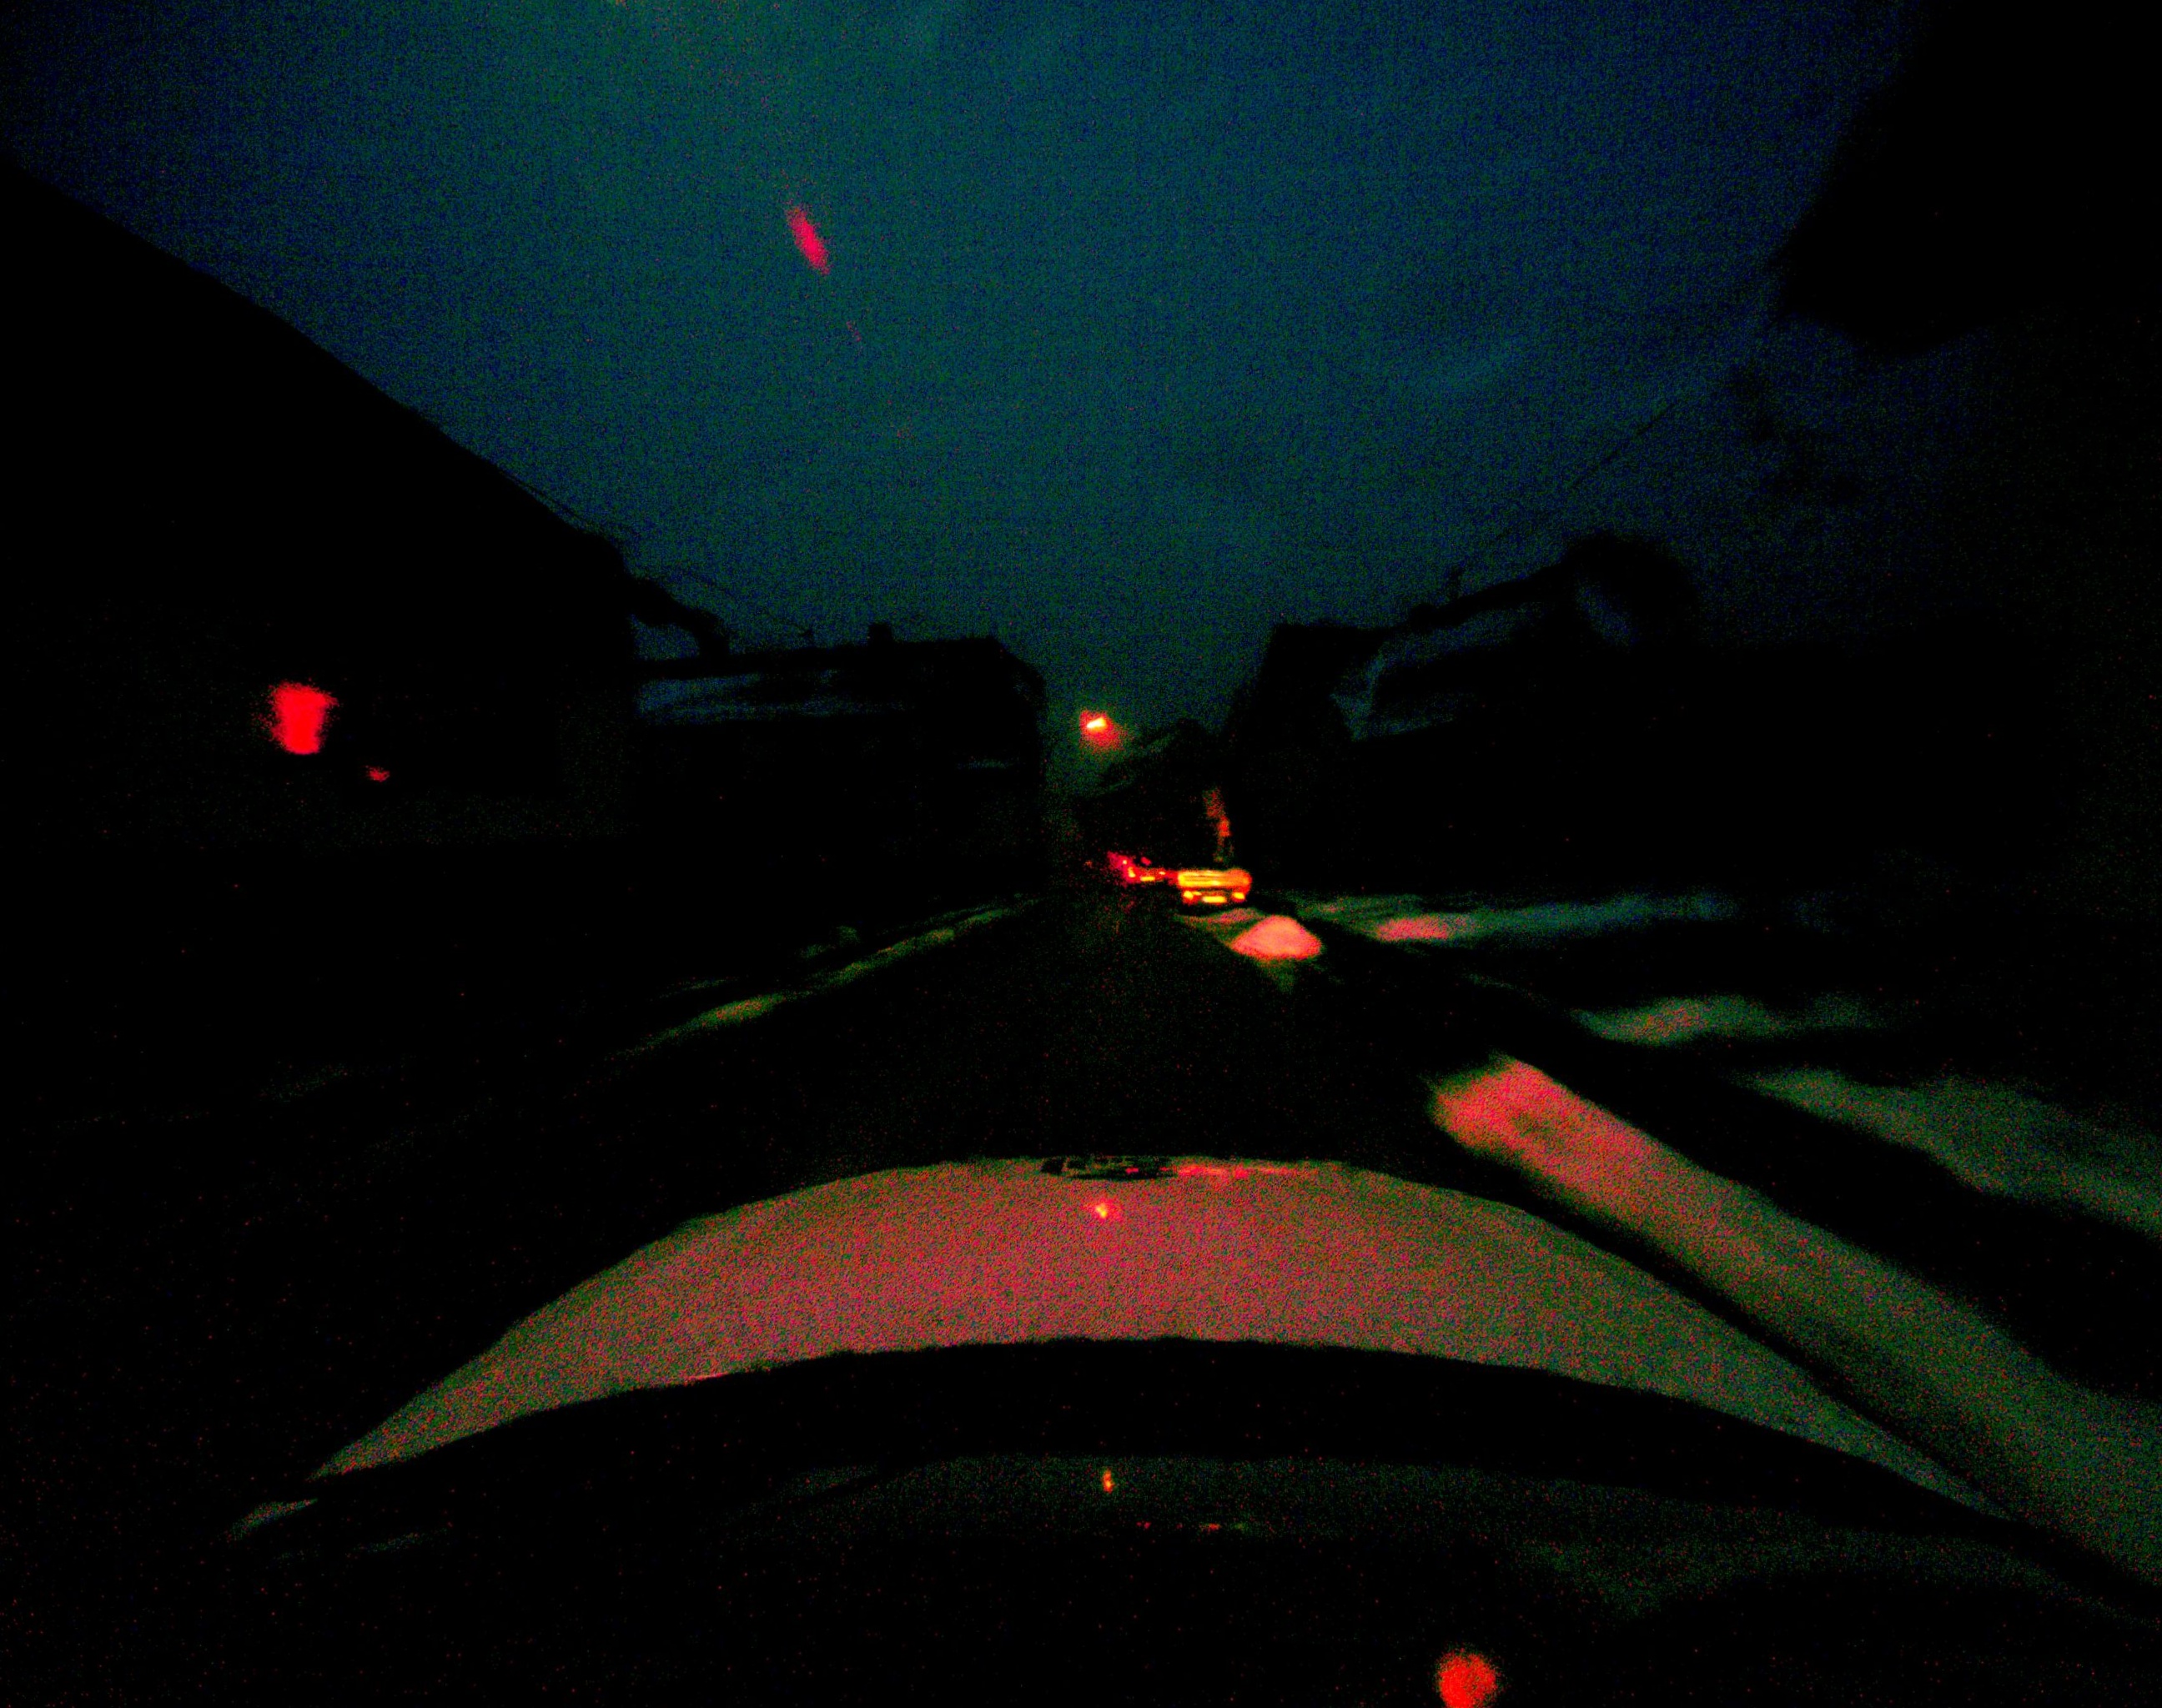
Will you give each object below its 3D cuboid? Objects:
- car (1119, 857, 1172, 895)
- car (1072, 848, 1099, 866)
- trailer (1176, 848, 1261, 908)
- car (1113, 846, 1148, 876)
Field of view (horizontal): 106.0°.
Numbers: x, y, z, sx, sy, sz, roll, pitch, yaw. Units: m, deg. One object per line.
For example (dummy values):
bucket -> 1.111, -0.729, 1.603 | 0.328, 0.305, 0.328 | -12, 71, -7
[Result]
car -> 2.858, 0.945, 35.214 | 1.982, 1.508, 4.009 | -1, -1, 8
car -> 0.352, 0.237, 72.228 | 1.908, 1.481, 4.273 | -3, 0, -6
trailer -> 3.686, 0.563, 21.756 | 1.981, 1.388, 4.745 | -1, 0, 10
car -> 2.913, 0.442, 48.919 | 1.986, 1.728, 4.002 | -1, -1, 2
